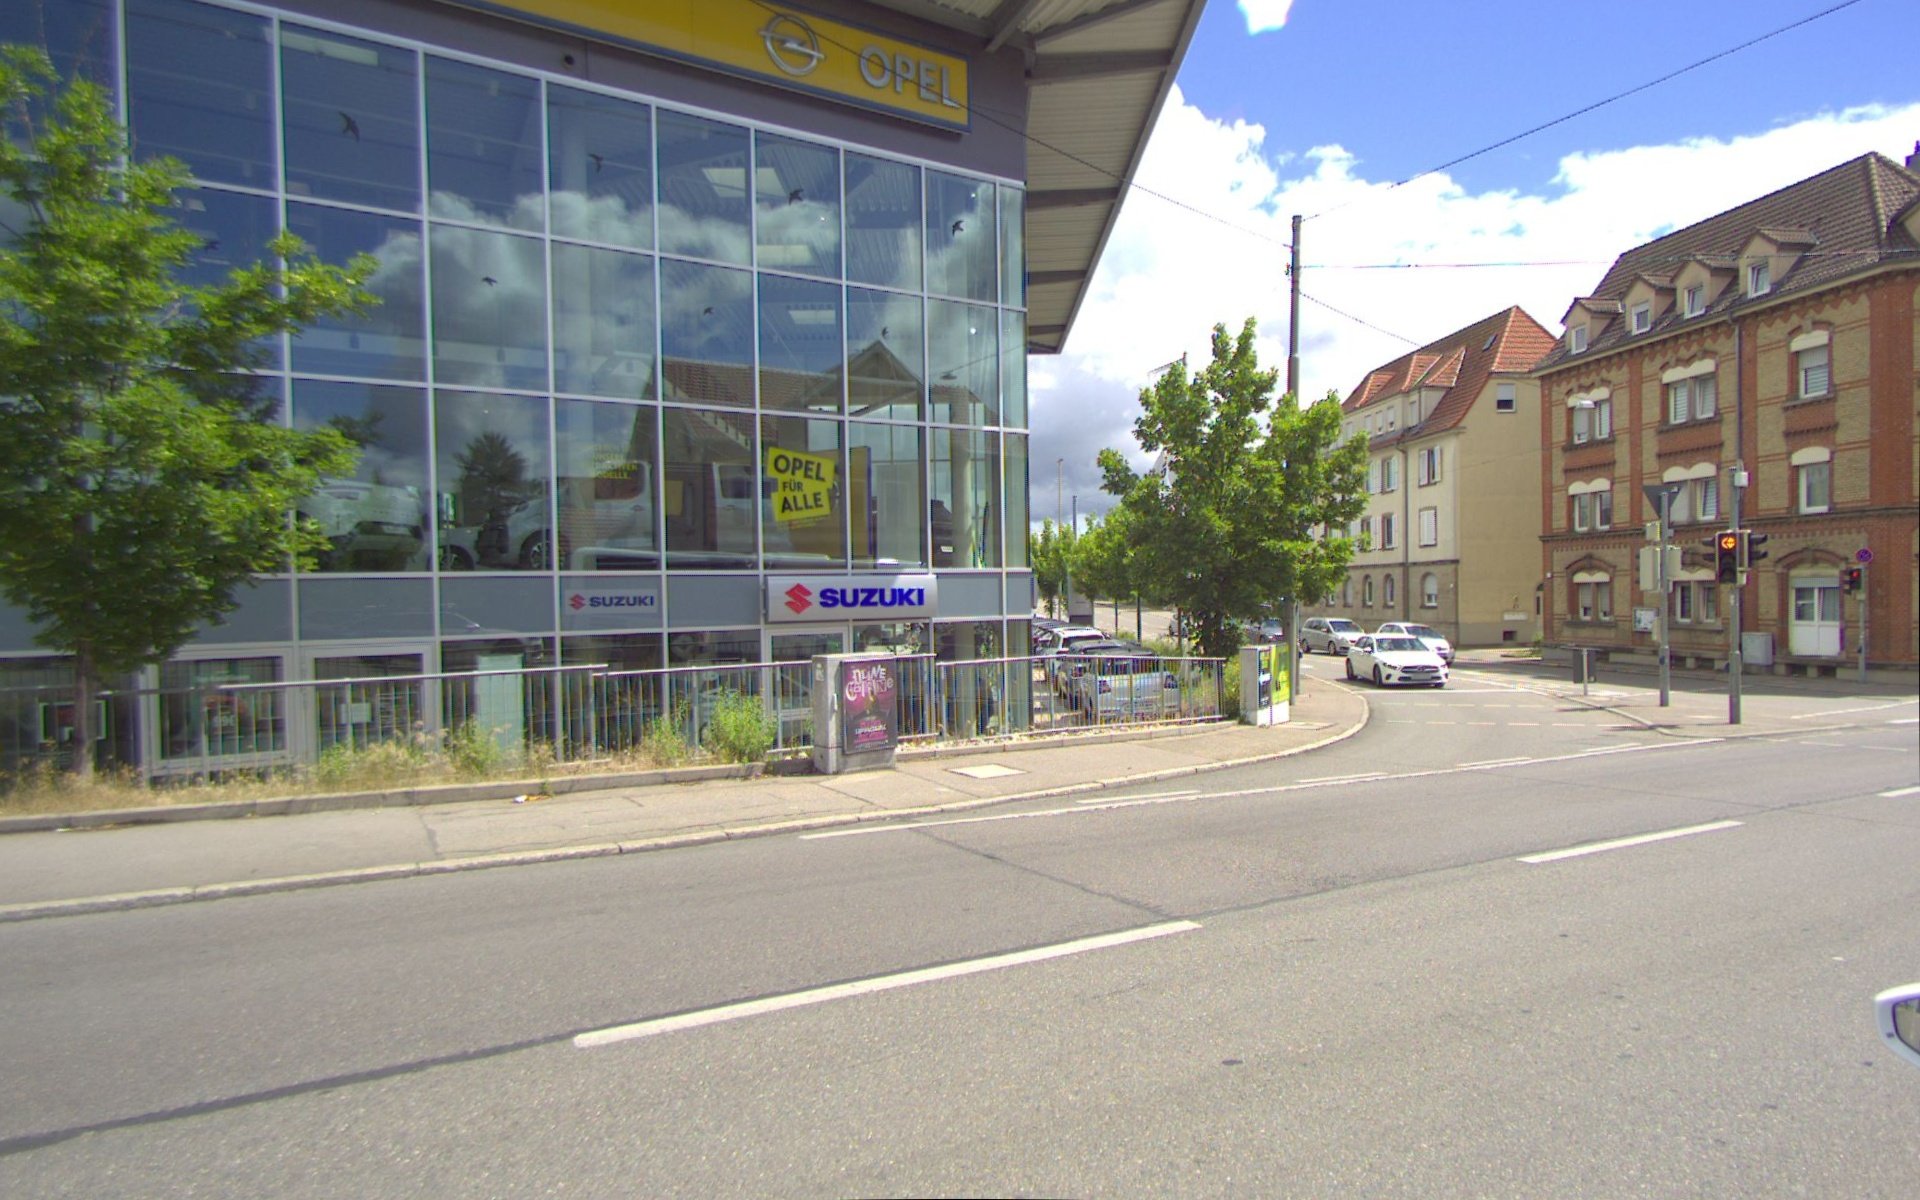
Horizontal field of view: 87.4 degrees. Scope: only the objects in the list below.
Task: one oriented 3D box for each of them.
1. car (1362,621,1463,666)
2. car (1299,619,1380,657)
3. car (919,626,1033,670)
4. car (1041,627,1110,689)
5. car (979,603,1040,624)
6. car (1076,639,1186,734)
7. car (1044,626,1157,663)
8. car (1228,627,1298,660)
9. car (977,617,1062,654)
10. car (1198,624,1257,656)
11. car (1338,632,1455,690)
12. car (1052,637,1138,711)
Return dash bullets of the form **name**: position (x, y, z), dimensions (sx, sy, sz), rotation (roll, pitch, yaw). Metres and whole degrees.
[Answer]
- **car**: position (17.065, 1.610, 38.087), dimensions (1.670, 1.517, 3.995), rotation (1, -1, -7)
- **car**: position (16.738, 1.644, 44.512), dimensions (1.715, 1.539, 3.996), rotation (1, -1, -7)
- **car**: position (0.618, 1.738, 37.191), dimensions (3.919, 1.478, 1.605), rotation (1, -1, 15)
- **car**: position (3.282, 1.634, 29.094), dimensions (1.487, 1.596, 3.414), rotation (1, -1, -2)
- **car**: position (3.233, 0.874, 66.175), dimensions (3.921, 1.311, 1.818), rotation (1, -1, 0)
- **car**: position (3.396, 1.690, 20.551), dimensions (1.720, 1.596, 3.687), rotation (2, -1, 2)
- **car**: position (5.168, 1.634, 37.210), dimensions (3.921, 1.202, 1.818), rotation (1, -1, 0)
- **car**: position (15.336, 2.186, 51.019), dimensions (1.963, 1.539, 3.996), rotation (1, -1, -7)
- **car**: position (2.651, 1.586, 45.869), dimensions (1.974, 1.599, 4.476), rotation (1, -1, -26)
- **car**: position (14.843, 2.197, 55.948), dimensions (1.961, 1.607, 4.345), rotation (1, 0, -2)
- **car**: position (12.370, 1.686, 28.774), dimensions (1.825, 1.466, 4.394), rotation (1, -1, 6)
- **car**: position (3.232, 1.755, 24.700), dimensions (1.487, 1.543, 3.792), rotation (1, -1, -2)
